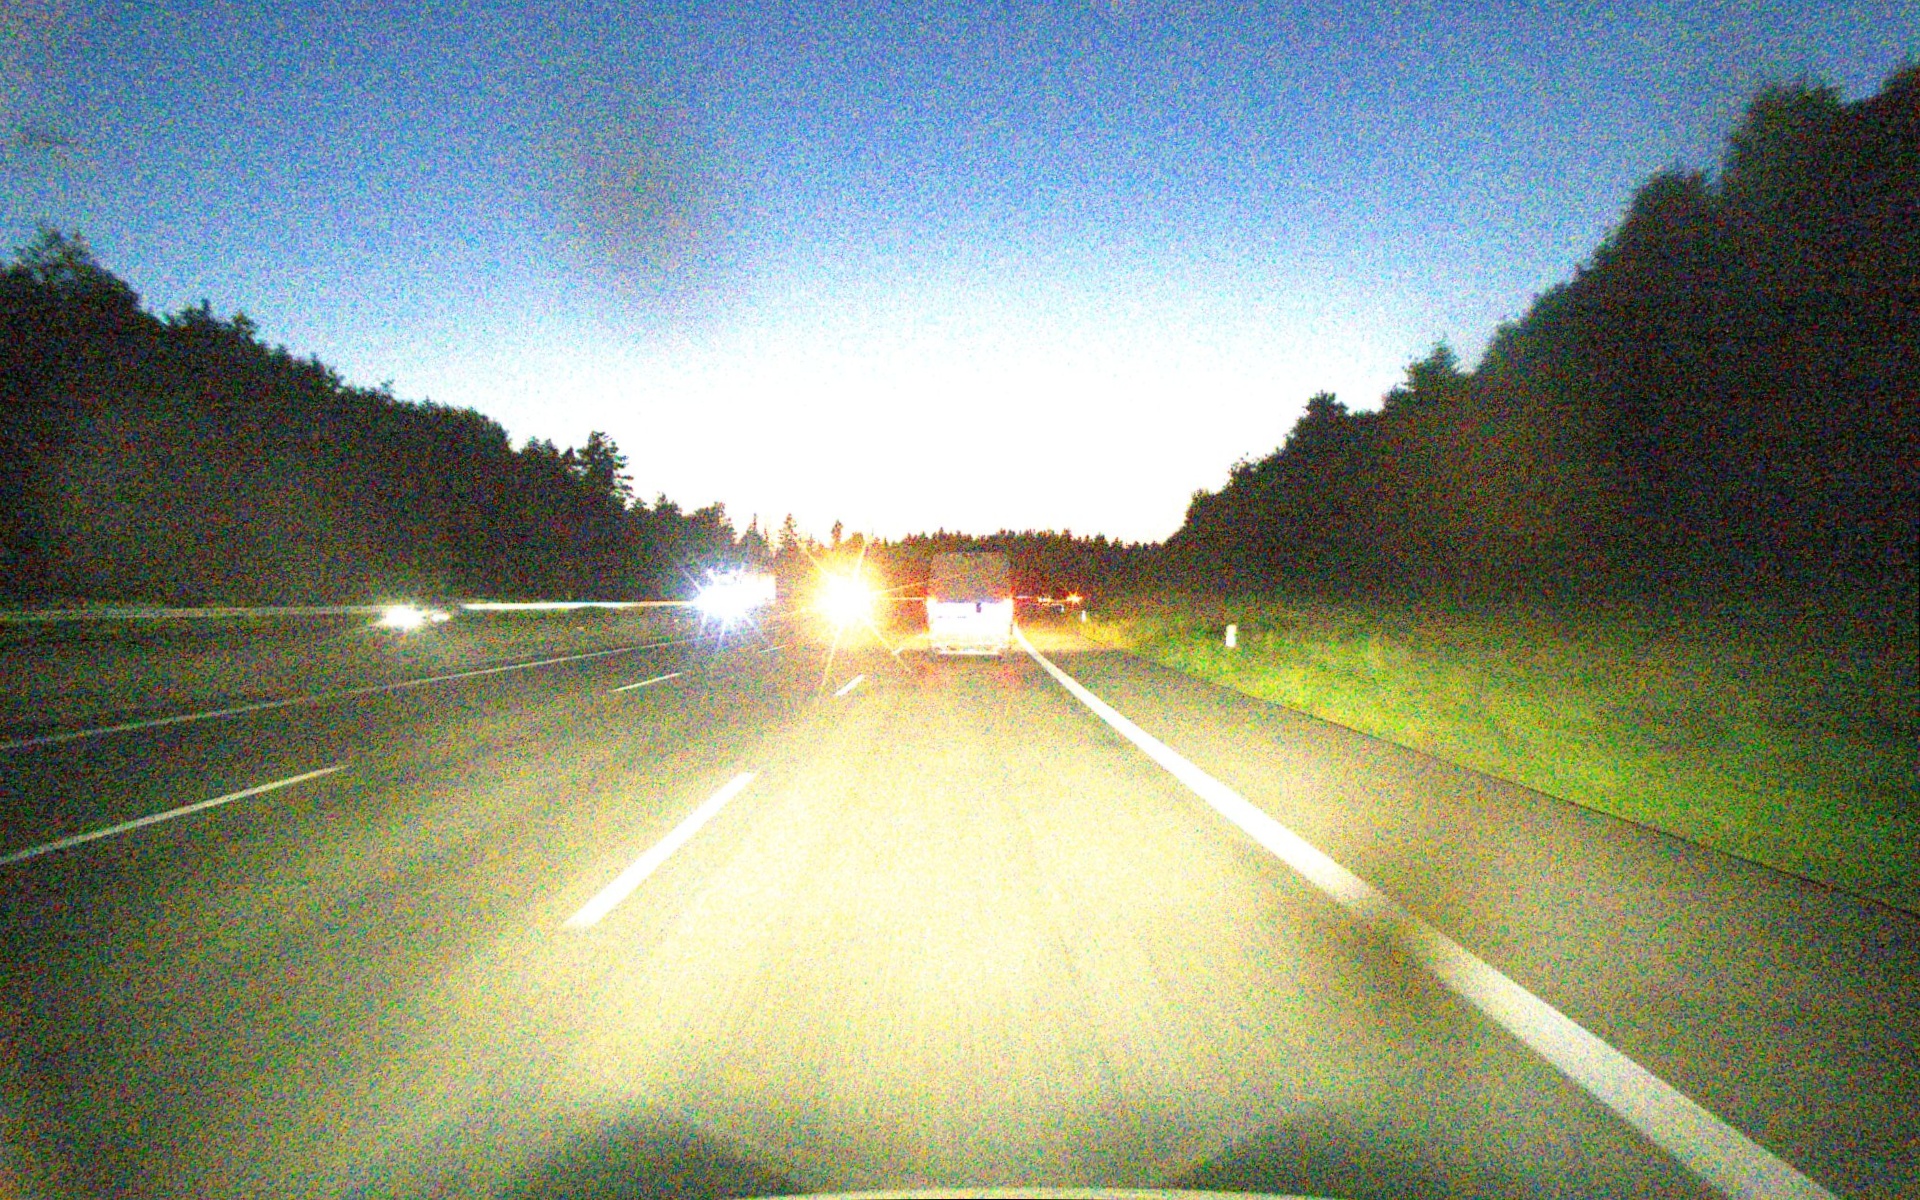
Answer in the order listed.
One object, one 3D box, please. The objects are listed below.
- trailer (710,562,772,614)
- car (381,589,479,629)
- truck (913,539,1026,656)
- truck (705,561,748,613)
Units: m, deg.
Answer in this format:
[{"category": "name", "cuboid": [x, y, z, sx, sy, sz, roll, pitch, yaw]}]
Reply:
[{"category": "trailer", "cuboid": [-19.254, -0.959, 146.502, 2.632, 4.292, 17.256, 0, -1, 2]}, {"category": "car", "cuboid": [-18.644, 0.333, 58.424, 1.952, 1.355, 4.399, 0, -1, 1]}, {"category": "truck", "cuboid": [0.311, -0.018, 42.267, 2.576, 2.670, 8.685, 0, -1, 1]}, {"category": "truck", "cuboid": [-19.549, -1.067, 138.789, 2.657, 4.273, 5.421, 0, -1, 2]}]
